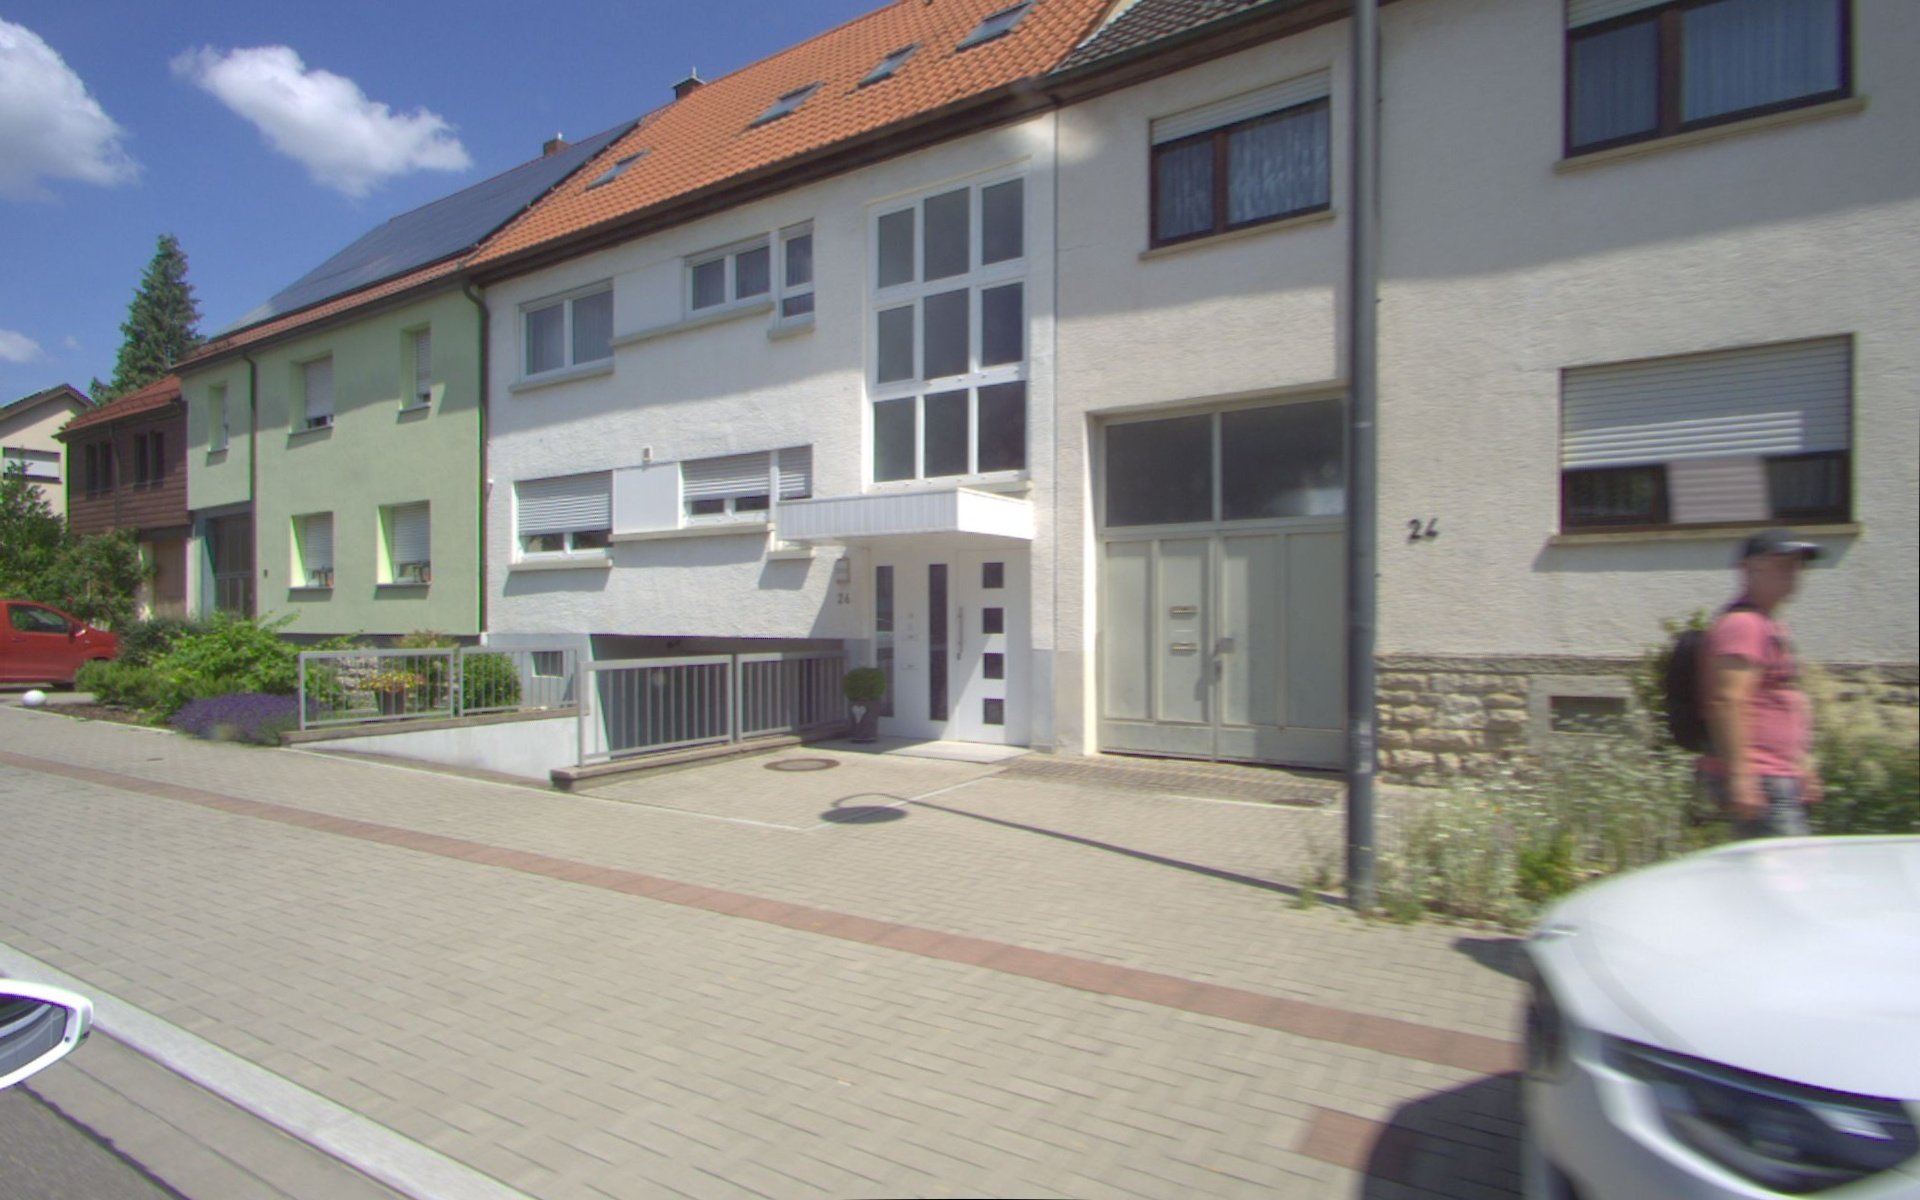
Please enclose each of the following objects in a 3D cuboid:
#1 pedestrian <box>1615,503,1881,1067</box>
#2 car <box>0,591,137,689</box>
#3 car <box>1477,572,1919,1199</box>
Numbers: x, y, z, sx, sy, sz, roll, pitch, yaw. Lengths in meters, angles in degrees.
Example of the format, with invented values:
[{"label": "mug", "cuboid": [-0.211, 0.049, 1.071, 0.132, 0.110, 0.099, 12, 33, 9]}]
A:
[{"label": "pedestrian", "cuboid": [2.746, 0.591, 3.560, 0.663, 1.772, 0.556, -1, 0, 33]}, {"label": "car", "cuboid": [-19.679, 0.805, 20.006, 1.991, 1.917, 4.614, -1, -3, 30]}, {"label": "car", "cuboid": [3.141, 0.702, 1.156, 4.452, 1.484, 1.830, -1, -1, 30]}]
